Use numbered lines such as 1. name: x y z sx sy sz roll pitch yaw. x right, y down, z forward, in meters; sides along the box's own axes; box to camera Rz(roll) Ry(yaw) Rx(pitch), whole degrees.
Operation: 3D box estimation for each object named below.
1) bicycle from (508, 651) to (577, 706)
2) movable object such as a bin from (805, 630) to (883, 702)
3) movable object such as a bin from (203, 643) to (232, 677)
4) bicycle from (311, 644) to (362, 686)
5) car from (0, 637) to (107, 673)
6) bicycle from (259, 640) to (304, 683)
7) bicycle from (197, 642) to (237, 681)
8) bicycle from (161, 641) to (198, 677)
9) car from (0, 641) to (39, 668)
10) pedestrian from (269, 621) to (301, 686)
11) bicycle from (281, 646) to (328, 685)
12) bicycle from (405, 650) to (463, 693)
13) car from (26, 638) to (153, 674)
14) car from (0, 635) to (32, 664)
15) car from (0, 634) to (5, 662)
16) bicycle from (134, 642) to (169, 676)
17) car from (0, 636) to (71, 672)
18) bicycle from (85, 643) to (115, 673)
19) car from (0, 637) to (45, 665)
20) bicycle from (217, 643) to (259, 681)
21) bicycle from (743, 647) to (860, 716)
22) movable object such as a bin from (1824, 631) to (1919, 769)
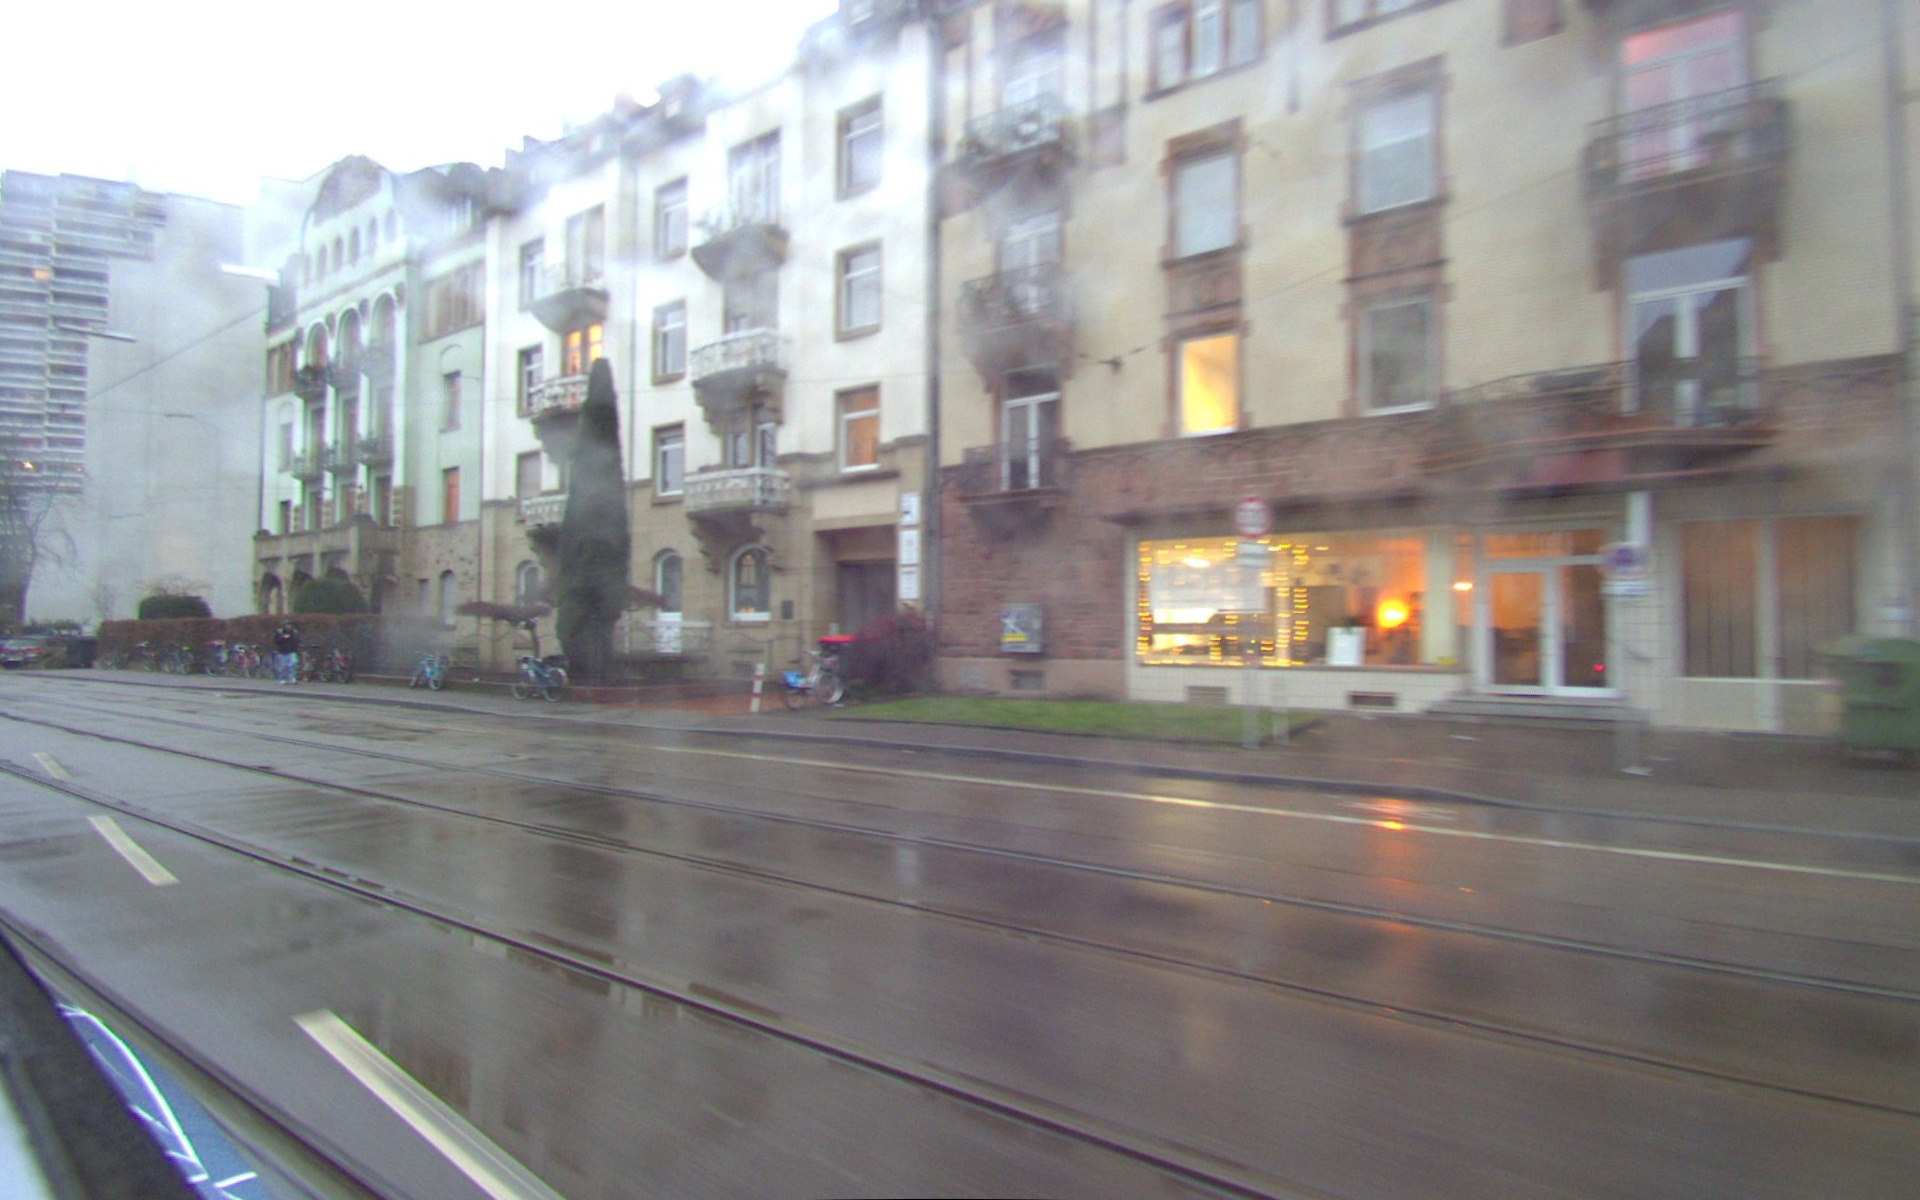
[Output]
1. bicycle: -8.856 1.644 21.456 1.660 1.101 0.617 -2 -3 39
2. movable object such as a bin: -2.412 1.352 21.129 1.166 1.390 1.092 -2 0 38
3. movable object such as a bin: -25.481 2.054 34.728 0.674 1.173 0.651 -2 -3 39
4. bicycle: -17.116 1.764 27.770 1.781 1.135 0.617 -2 -3 39
5. car: -40.770 2.428 45.352 1.739 1.497 4.000 0 -2 -1
6. bicycle: -20.148 1.813 30.045 1.660 1.221 0.617 -2 -3 39
7. bicycle: -24.004 1.965 32.701 1.660 1.221 0.617 -2 -3 39
8. bicycle: -27.119 2.039 35.139 1.660 1.221 0.617 -2 -3 39
9. car: -45.909 2.543 47.698 1.687 1.262 3.667 1 -3 -2
10. pedestrian: -18.363 1.444 27.536 0.644 1.738 0.567 0 -1 40
11. bicycle: -18.722 1.858 28.891 1.725 1.074 0.617 -2 -3 39
12. bicycle: -12.748 1.715 24.501 1.660 1.011 0.617 -2 -3 39
13. car: -38.231 2.428 44.582 1.847 1.505 3.990 0 -2 8
14. car: -54.100 2.724 55.979 1.842 1.608 4.000 0 -2 -1
15. car: -56.638 2.720 57.033 1.842 1.608 4.000 0 -2 -1
16. bicycle: -29.192 2.114 36.523 1.660 1.221 0.617 -2 -3 39
17. car: -43.603 2.468 46.575 1.842 1.608 4.000 0 -2 -1
18. bicycle: -33.823 2.267 39.797 1.660 1.173 0.617 -2 -2 39
19. car: -51.245 2.714 53.651 1.842 1.460 4.000 0 -2 -1
20. bicycle: -22.482 1.913 31.502 1.660 1.173 0.617 -2 -3 39
21. bicycle: -2.933 1.497 19.032 0.694 1.114 2.327 -2 -1 38
22. movable object such as a bin: 10.347 1.056 11.061 1.248 1.431 1.255 -2 -3 37
